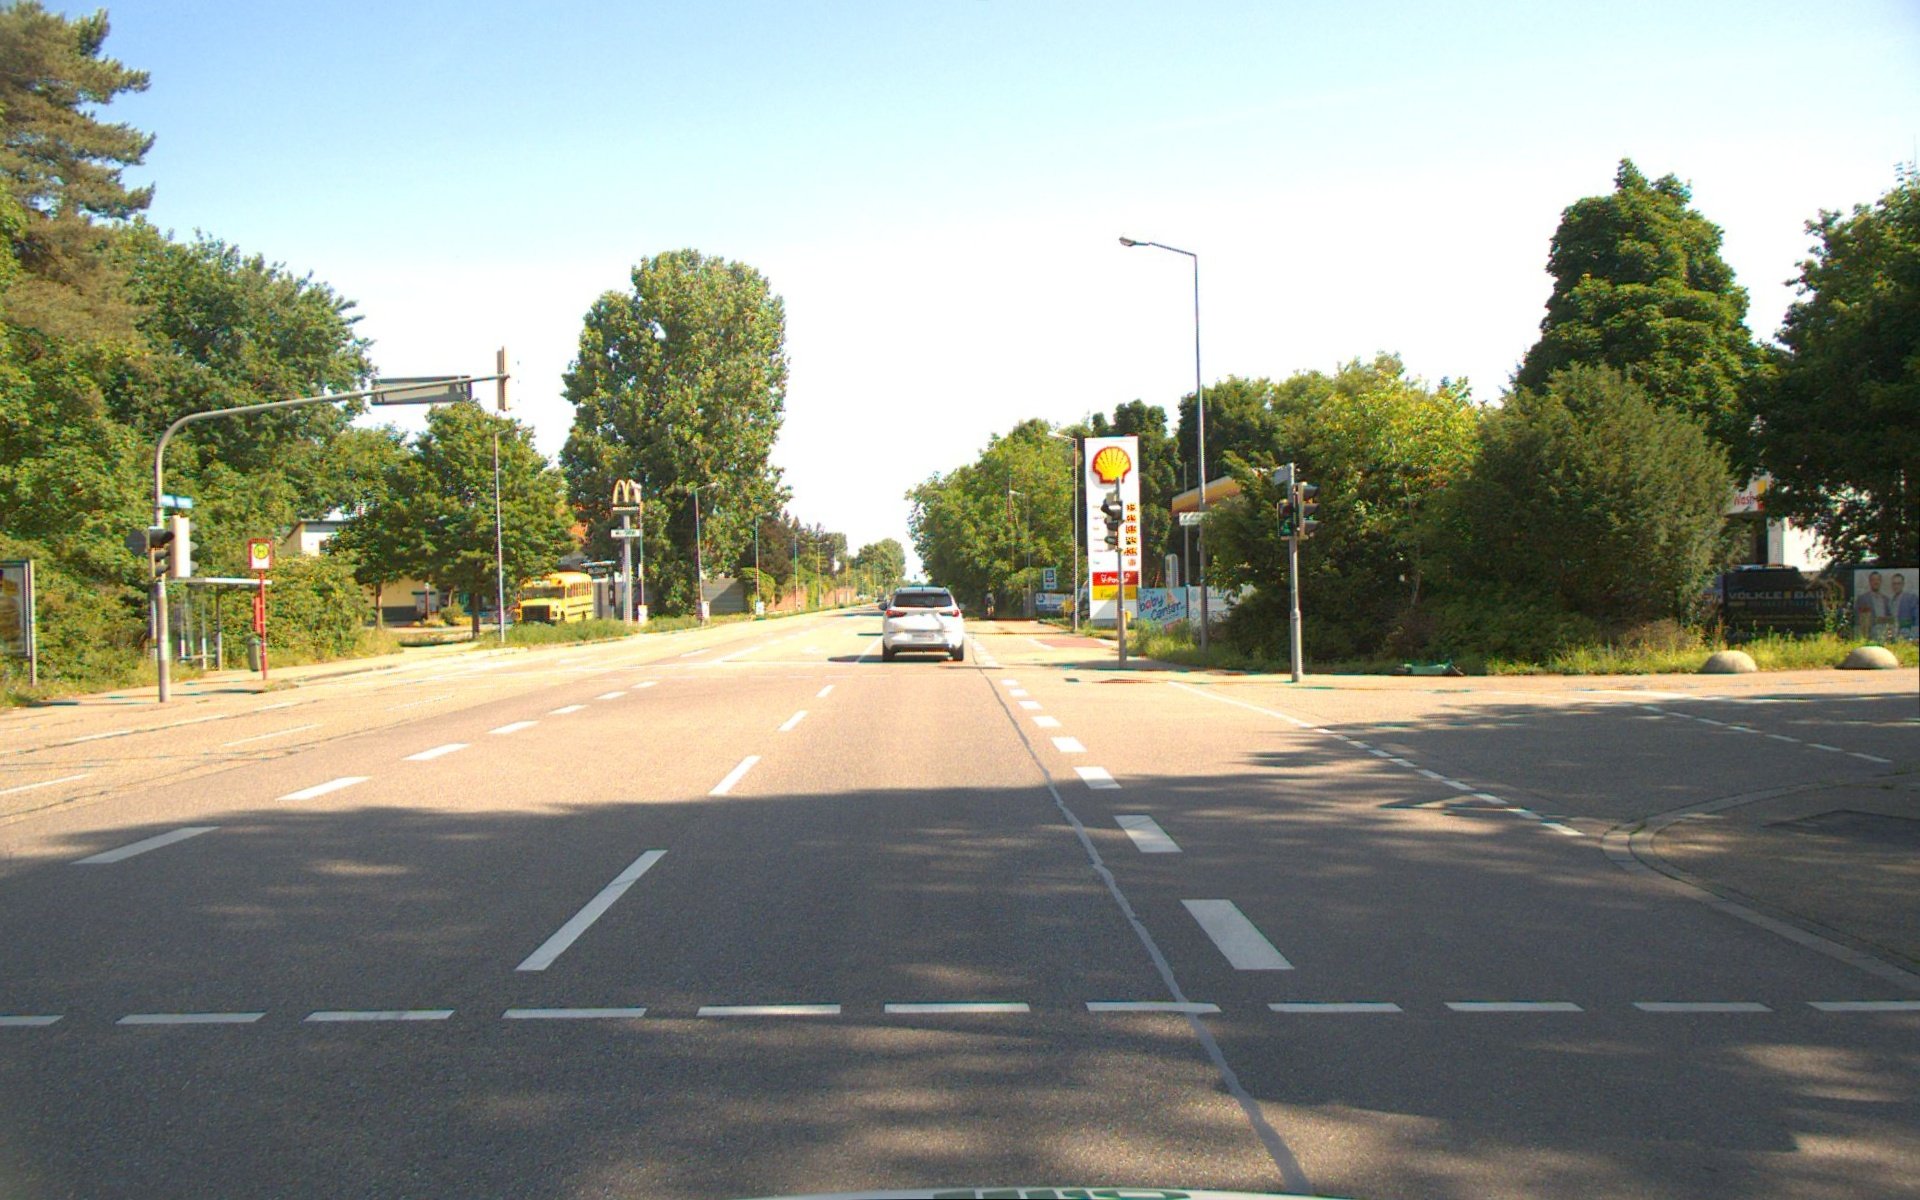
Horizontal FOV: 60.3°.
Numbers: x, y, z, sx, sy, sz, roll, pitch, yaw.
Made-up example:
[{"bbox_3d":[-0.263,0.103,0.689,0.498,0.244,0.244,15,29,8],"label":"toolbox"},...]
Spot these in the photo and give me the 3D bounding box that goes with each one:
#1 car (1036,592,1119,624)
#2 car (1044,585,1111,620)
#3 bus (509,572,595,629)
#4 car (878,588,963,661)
[{"bbox_3d":[5.890,0.392,83.246,3.912,1.557,1.583,0,0,-9],"label":"car"},{"bbox_3d":[5.338,0.127,75.071,2.683,1.557,1.568,-1,-2,43],"label":"car"},{"bbox_3d":[-20.444,0.050,83.397,2.528,2.726,8.991,0,0,-3],"label":"bus"},{"bbox_3d":[-0.877,0.536,37.646,1.809,1.568,4.223,0,0,-1],"label":"car"}]
